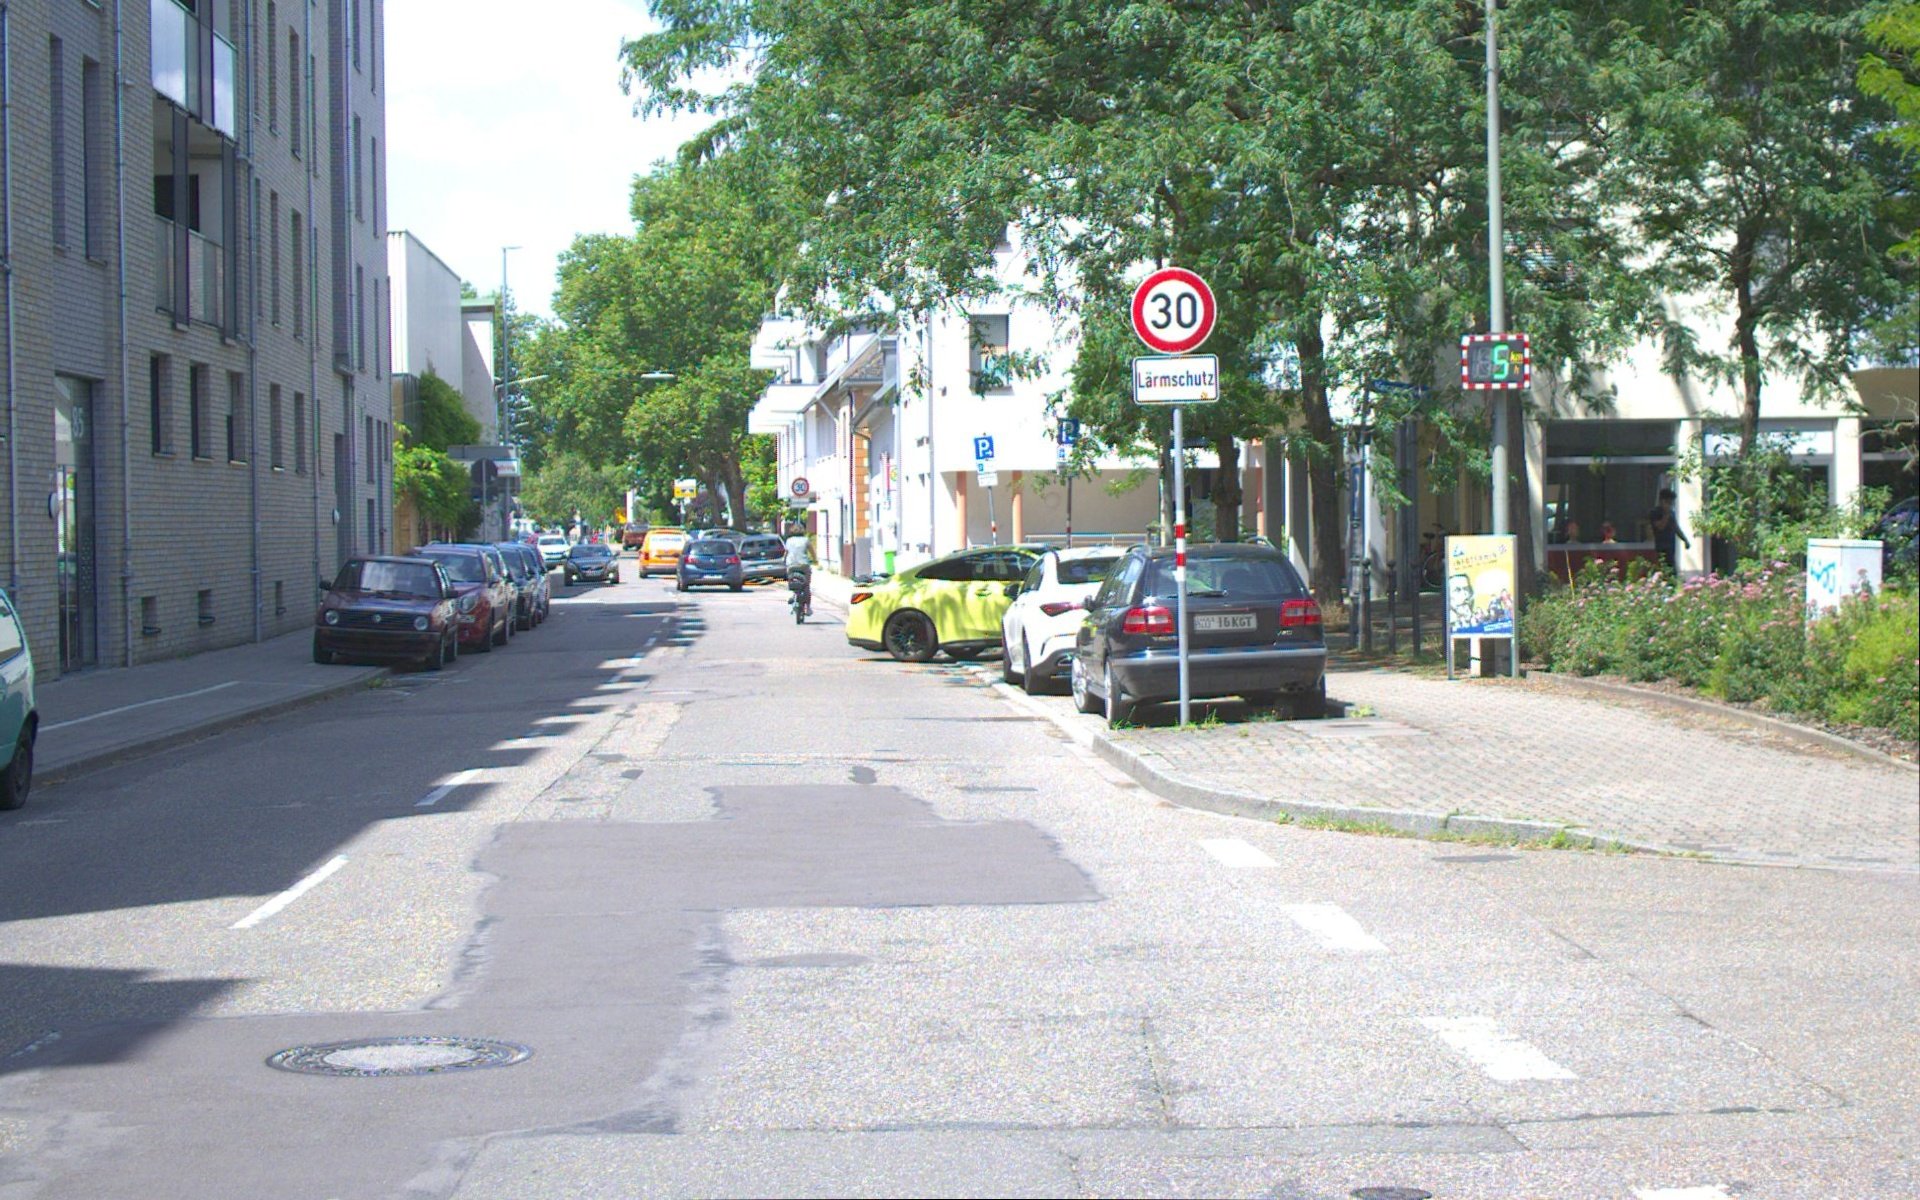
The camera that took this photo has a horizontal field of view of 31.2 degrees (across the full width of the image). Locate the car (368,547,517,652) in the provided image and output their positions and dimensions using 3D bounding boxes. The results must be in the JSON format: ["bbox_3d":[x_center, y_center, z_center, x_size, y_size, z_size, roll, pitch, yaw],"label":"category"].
[{"bbox_3d":[-7.479,-0.039,49.991,1.732,1.437,4.001,-1,1,-3],"label":"car"}]

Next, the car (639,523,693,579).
[{"bbox_3d":[-10.738,-1.813,125.814,1.839,2.007,4.001,-1,2,-4],"label":"car"}]

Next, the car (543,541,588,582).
[{"bbox_3d":[-19.922,-1.966,173.656,1.993,2.007,4.001,-1,1,-3],"label":"car"}]

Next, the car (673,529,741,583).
[{"bbox_3d":[-6.967,-1.228,94.989,1.715,1.397,4.001,-1,2,-2],"label":"car"}]

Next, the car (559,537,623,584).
[{"bbox_3d":[-12.454,-1.343,116.261,1.993,1.514,4.001,-1,1,-4],"label":"car"}]

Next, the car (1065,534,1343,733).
[{"bbox_3d":[1.908,0.221,27.981,1.692,1.415,4.001,-3,1,-3],"label":"car"}]

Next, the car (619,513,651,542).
[{"bbox_3d":[-22.318,-4.978,236.103,2.156,2.007,4.001,-1,1,-6],"label":"car"}]

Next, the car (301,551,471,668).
[{"bbox_3d":[-7.458,0.086,44.978,1.732,1.437,4.001,-1,1,-3],"label":"car"}]

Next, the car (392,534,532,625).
[{"bbox_3d":[-8.238,-0.363,57.137,1.826,1.415,4.001,1,1,-2],"label":"car"}]

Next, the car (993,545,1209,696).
[{"bbox_3d":[1.361,0.163,34.624,1.778,1.415,4.001,-1,1,-3],"label":"car"}]

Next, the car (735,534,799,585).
[{"bbox_3d":[-6.227,-1.307,110.446,1.993,1.612,4.001,0,1,-4],"label":"car"}]

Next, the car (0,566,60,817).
[{"bbox_3d":[-6.393,0.535,19.793,1.590,1.451,3.704,1,1,-3],"label":"car"}]

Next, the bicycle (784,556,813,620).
[{"bbox_3d":[-2.847,-0.216,60.699,0.483,1.111,1.196,-1,1,-3],"label":"bicycle"}]

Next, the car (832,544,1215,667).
[{"bbox_3d":[0.813,0.044,43.147,4.382,1.376,1.998,2,1,18],"label":"car"}]

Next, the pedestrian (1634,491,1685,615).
[{"bbox_3d":[10.506,-0.712,51.644,0.596,1.853,0.603,0,1,27],"label":"pedestrian"}]

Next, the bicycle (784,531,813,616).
[{"bbox_3d":[-2.854,-0.465,60.722,0.477,1.485,0.576,-1,1,-3],"label":"bicycle"}]
